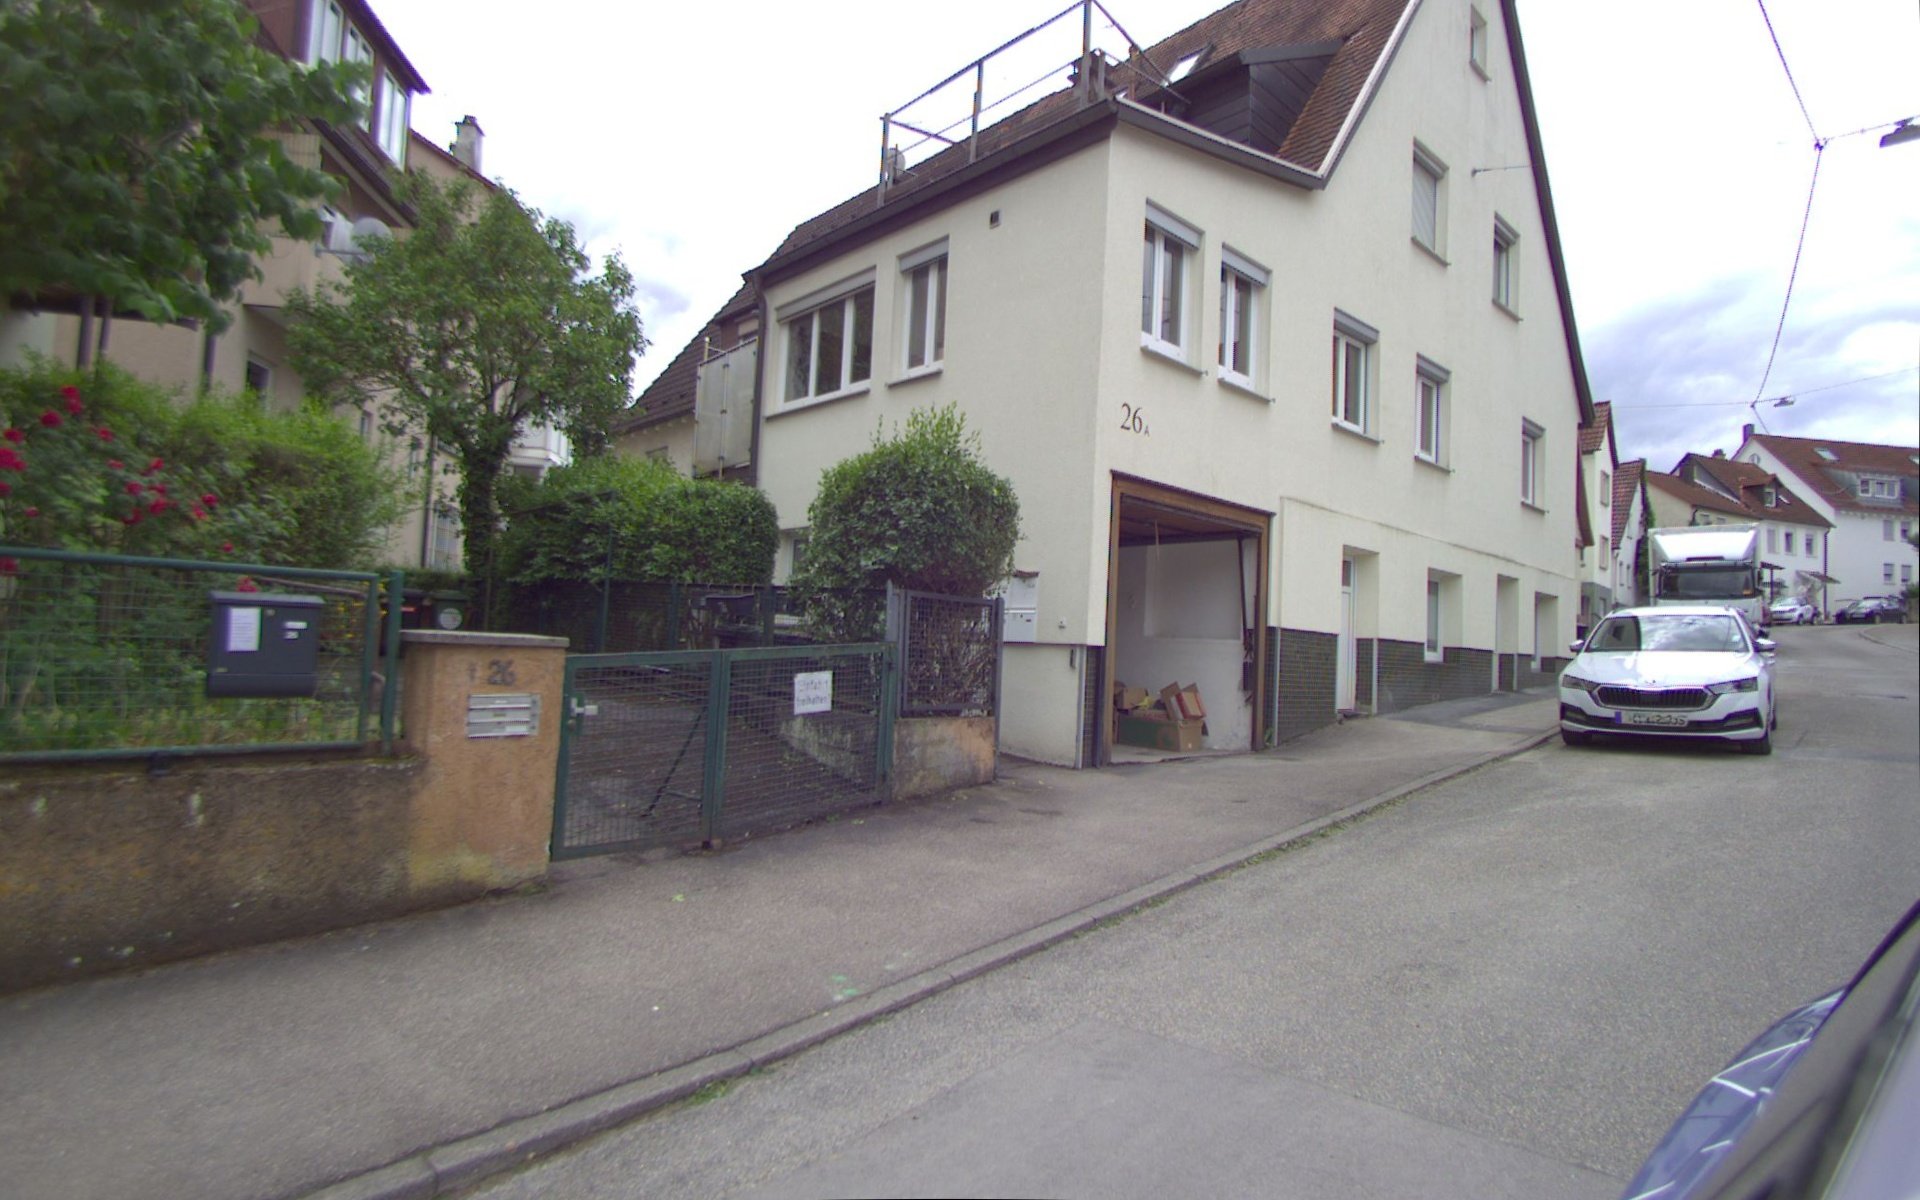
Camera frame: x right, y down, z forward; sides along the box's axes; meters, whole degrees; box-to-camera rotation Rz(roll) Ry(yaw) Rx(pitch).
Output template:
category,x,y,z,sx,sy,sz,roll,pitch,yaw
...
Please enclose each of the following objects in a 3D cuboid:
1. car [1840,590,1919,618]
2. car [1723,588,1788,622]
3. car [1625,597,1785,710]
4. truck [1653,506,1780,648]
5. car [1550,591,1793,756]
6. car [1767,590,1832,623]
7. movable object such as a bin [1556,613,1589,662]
category,x,y,z,sx,sy,sz,roll,pitch,yaw
car,49.912,0.233,54.862,3.919,1.425,1.726,1,-3,-22
car,37.119,0.221,47.202,3.785,1.470,1.681,-1,-2,-42
car,11.183,0.720,15.146,1.670,1.426,3.995,-3,-1,38
truck,22.241,-0.599,30.009,2.667,3.643,8.002,0,0,35
car,8.075,0.678,11.311,1.792,1.464,4.235,-3,-1,41
car,42.724,0.337,51.480,2.840,1.552,1.617,0,-4,-32
movable object such as a bin,12.345,0.749,20.384,0.463,0.928,0.535,4,3,38
